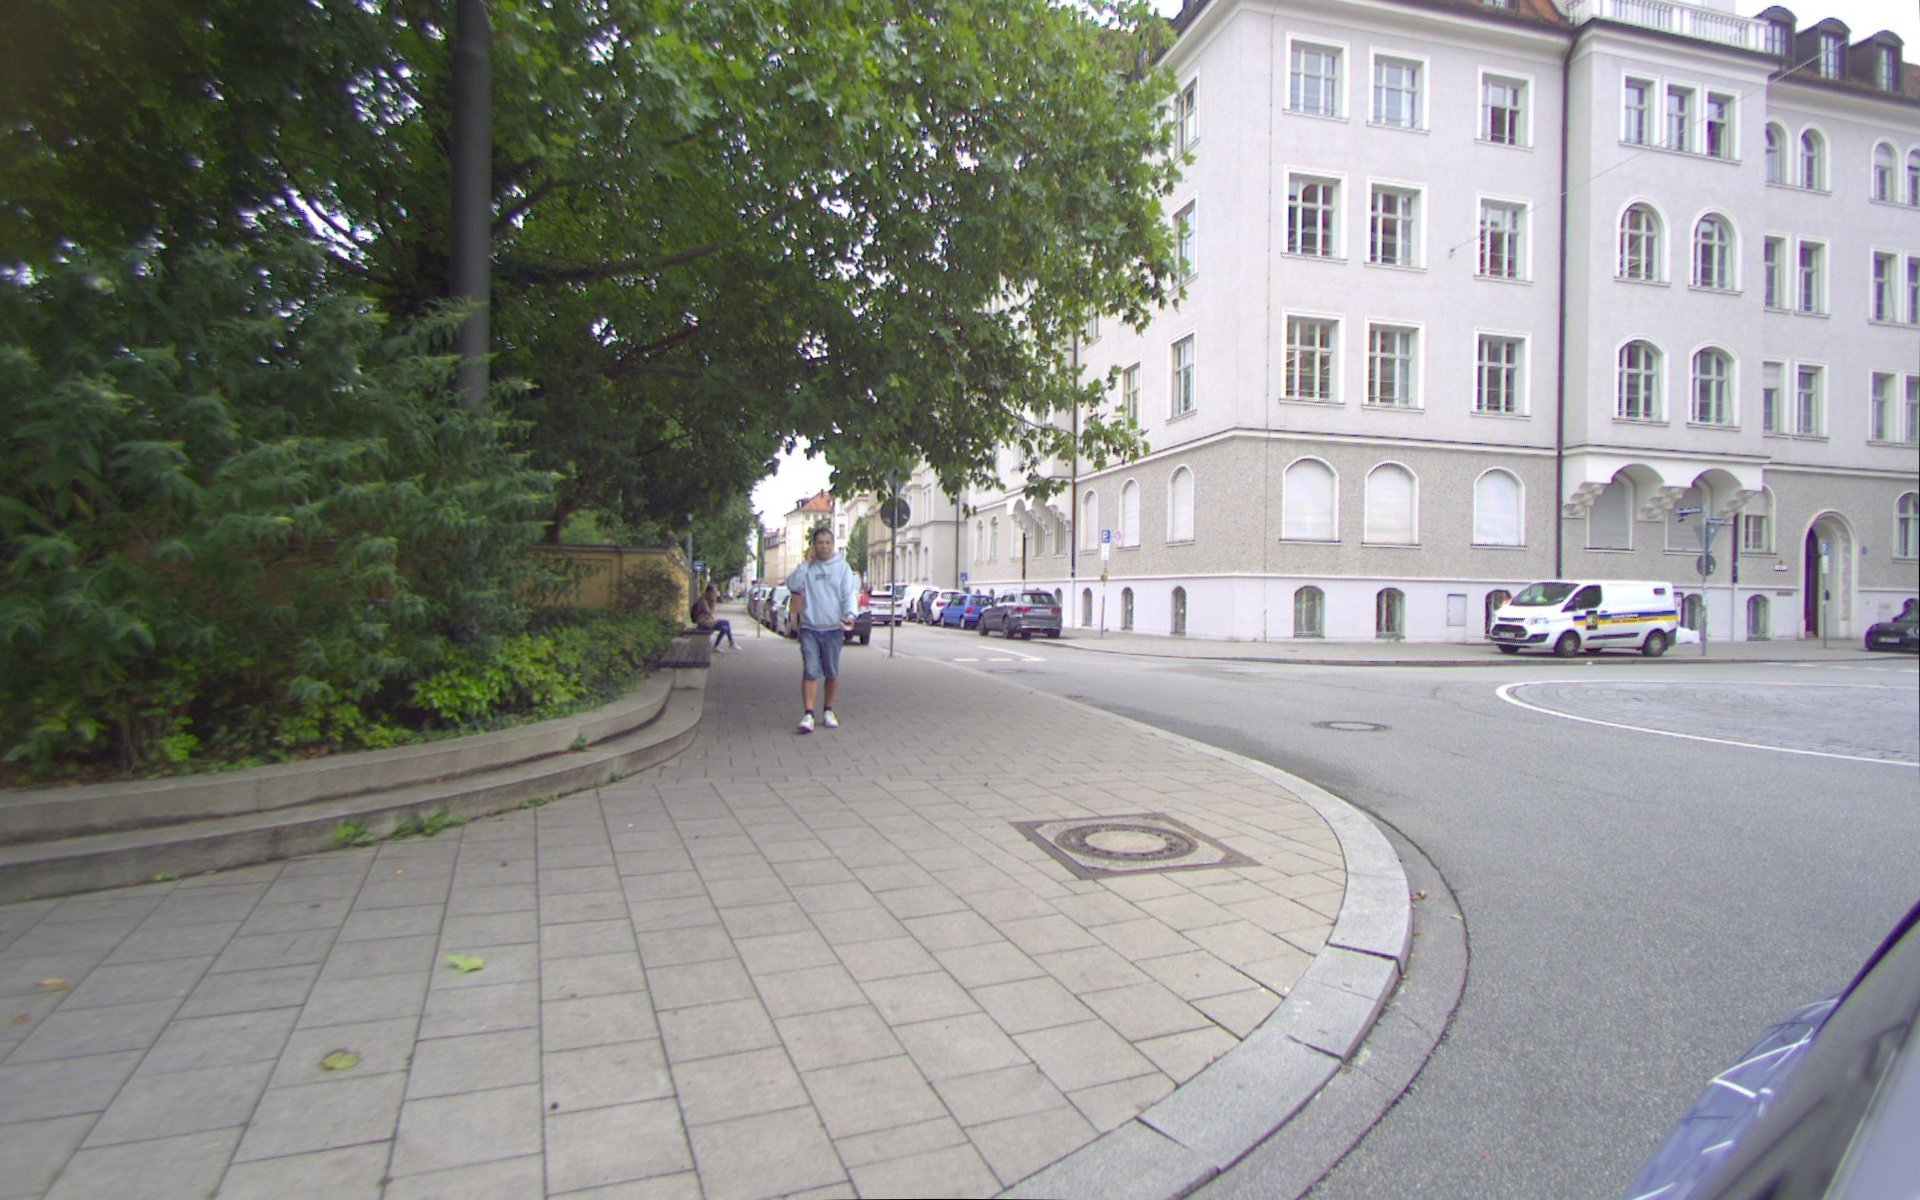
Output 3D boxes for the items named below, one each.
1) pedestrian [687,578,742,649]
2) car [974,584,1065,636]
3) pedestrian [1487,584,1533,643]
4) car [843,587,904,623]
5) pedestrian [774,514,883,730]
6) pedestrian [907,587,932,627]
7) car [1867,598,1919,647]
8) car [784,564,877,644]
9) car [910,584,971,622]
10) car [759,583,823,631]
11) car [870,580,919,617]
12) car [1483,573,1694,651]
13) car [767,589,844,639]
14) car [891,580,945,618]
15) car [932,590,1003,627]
[{"bbox_3d":[-4.787,0.249,19.793,0.992,1.355,0.878,1,0,-10],"label":"pedestrian"},{"bbox_3d":[1.931,0.290,34.423,1.715,1.622,4.506,2,0,-15],"label":"car"},{"bbox_3d":[15.556,0.375,28.634,0.837,1.657,0.735,1,0,-15],"label":"pedestrian"},{"bbox_3d":[-3.792,0.171,43.559,1.851,1.467,4.901,0,1,-14],"label":"car"},{"bbox_3d":[-1.190,0.180,8.976,0.858,1.793,1.054,1,0,-12],"label":"pedestrian"},{"bbox_3d":[-1.815,0.290,45.334,0.865,1.778,0.959,0,0,18],"label":"pedestrian"},{"bbox_3d":[28.290,0.643,29.002,3.602,1.363,1.701,1,0,-15],"label":"car"},{"bbox_3d":[-3.596,0.064,27.337,1.840,1.945,4.898,-1,1,-15],"label":"car"},{"bbox_3d":[-0.962,0.115,46.138,1.715,1.622,4.506,2,0,-15],"label":"car"},{"bbox_3d":[-6.540,0.237,38.820,1.851,1.673,4.834,-1,1,-16],"label":"car"},{"bbox_3d":[-3.798,-0.098,57.890,1.823,1.963,4.967,2,0,-14],"label":"car"},{"bbox_3d":[16.258,0.291,26.220,4.807,1.904,1.929,0,0,-17],"label":"car"},{"bbox_3d":[-5.087,0.398,32.885,1.851,1.466,4.378,-2,1,-17],"label":"car"},{"bbox_3d":[-2.215,-0.060,51.921,1.715,1.811,5.047,2,0,-14],"label":"car"},{"bbox_3d":[0.248,0.328,41.705,1.661,1.432,3.670,2,0,-21],"label":"car"}]
